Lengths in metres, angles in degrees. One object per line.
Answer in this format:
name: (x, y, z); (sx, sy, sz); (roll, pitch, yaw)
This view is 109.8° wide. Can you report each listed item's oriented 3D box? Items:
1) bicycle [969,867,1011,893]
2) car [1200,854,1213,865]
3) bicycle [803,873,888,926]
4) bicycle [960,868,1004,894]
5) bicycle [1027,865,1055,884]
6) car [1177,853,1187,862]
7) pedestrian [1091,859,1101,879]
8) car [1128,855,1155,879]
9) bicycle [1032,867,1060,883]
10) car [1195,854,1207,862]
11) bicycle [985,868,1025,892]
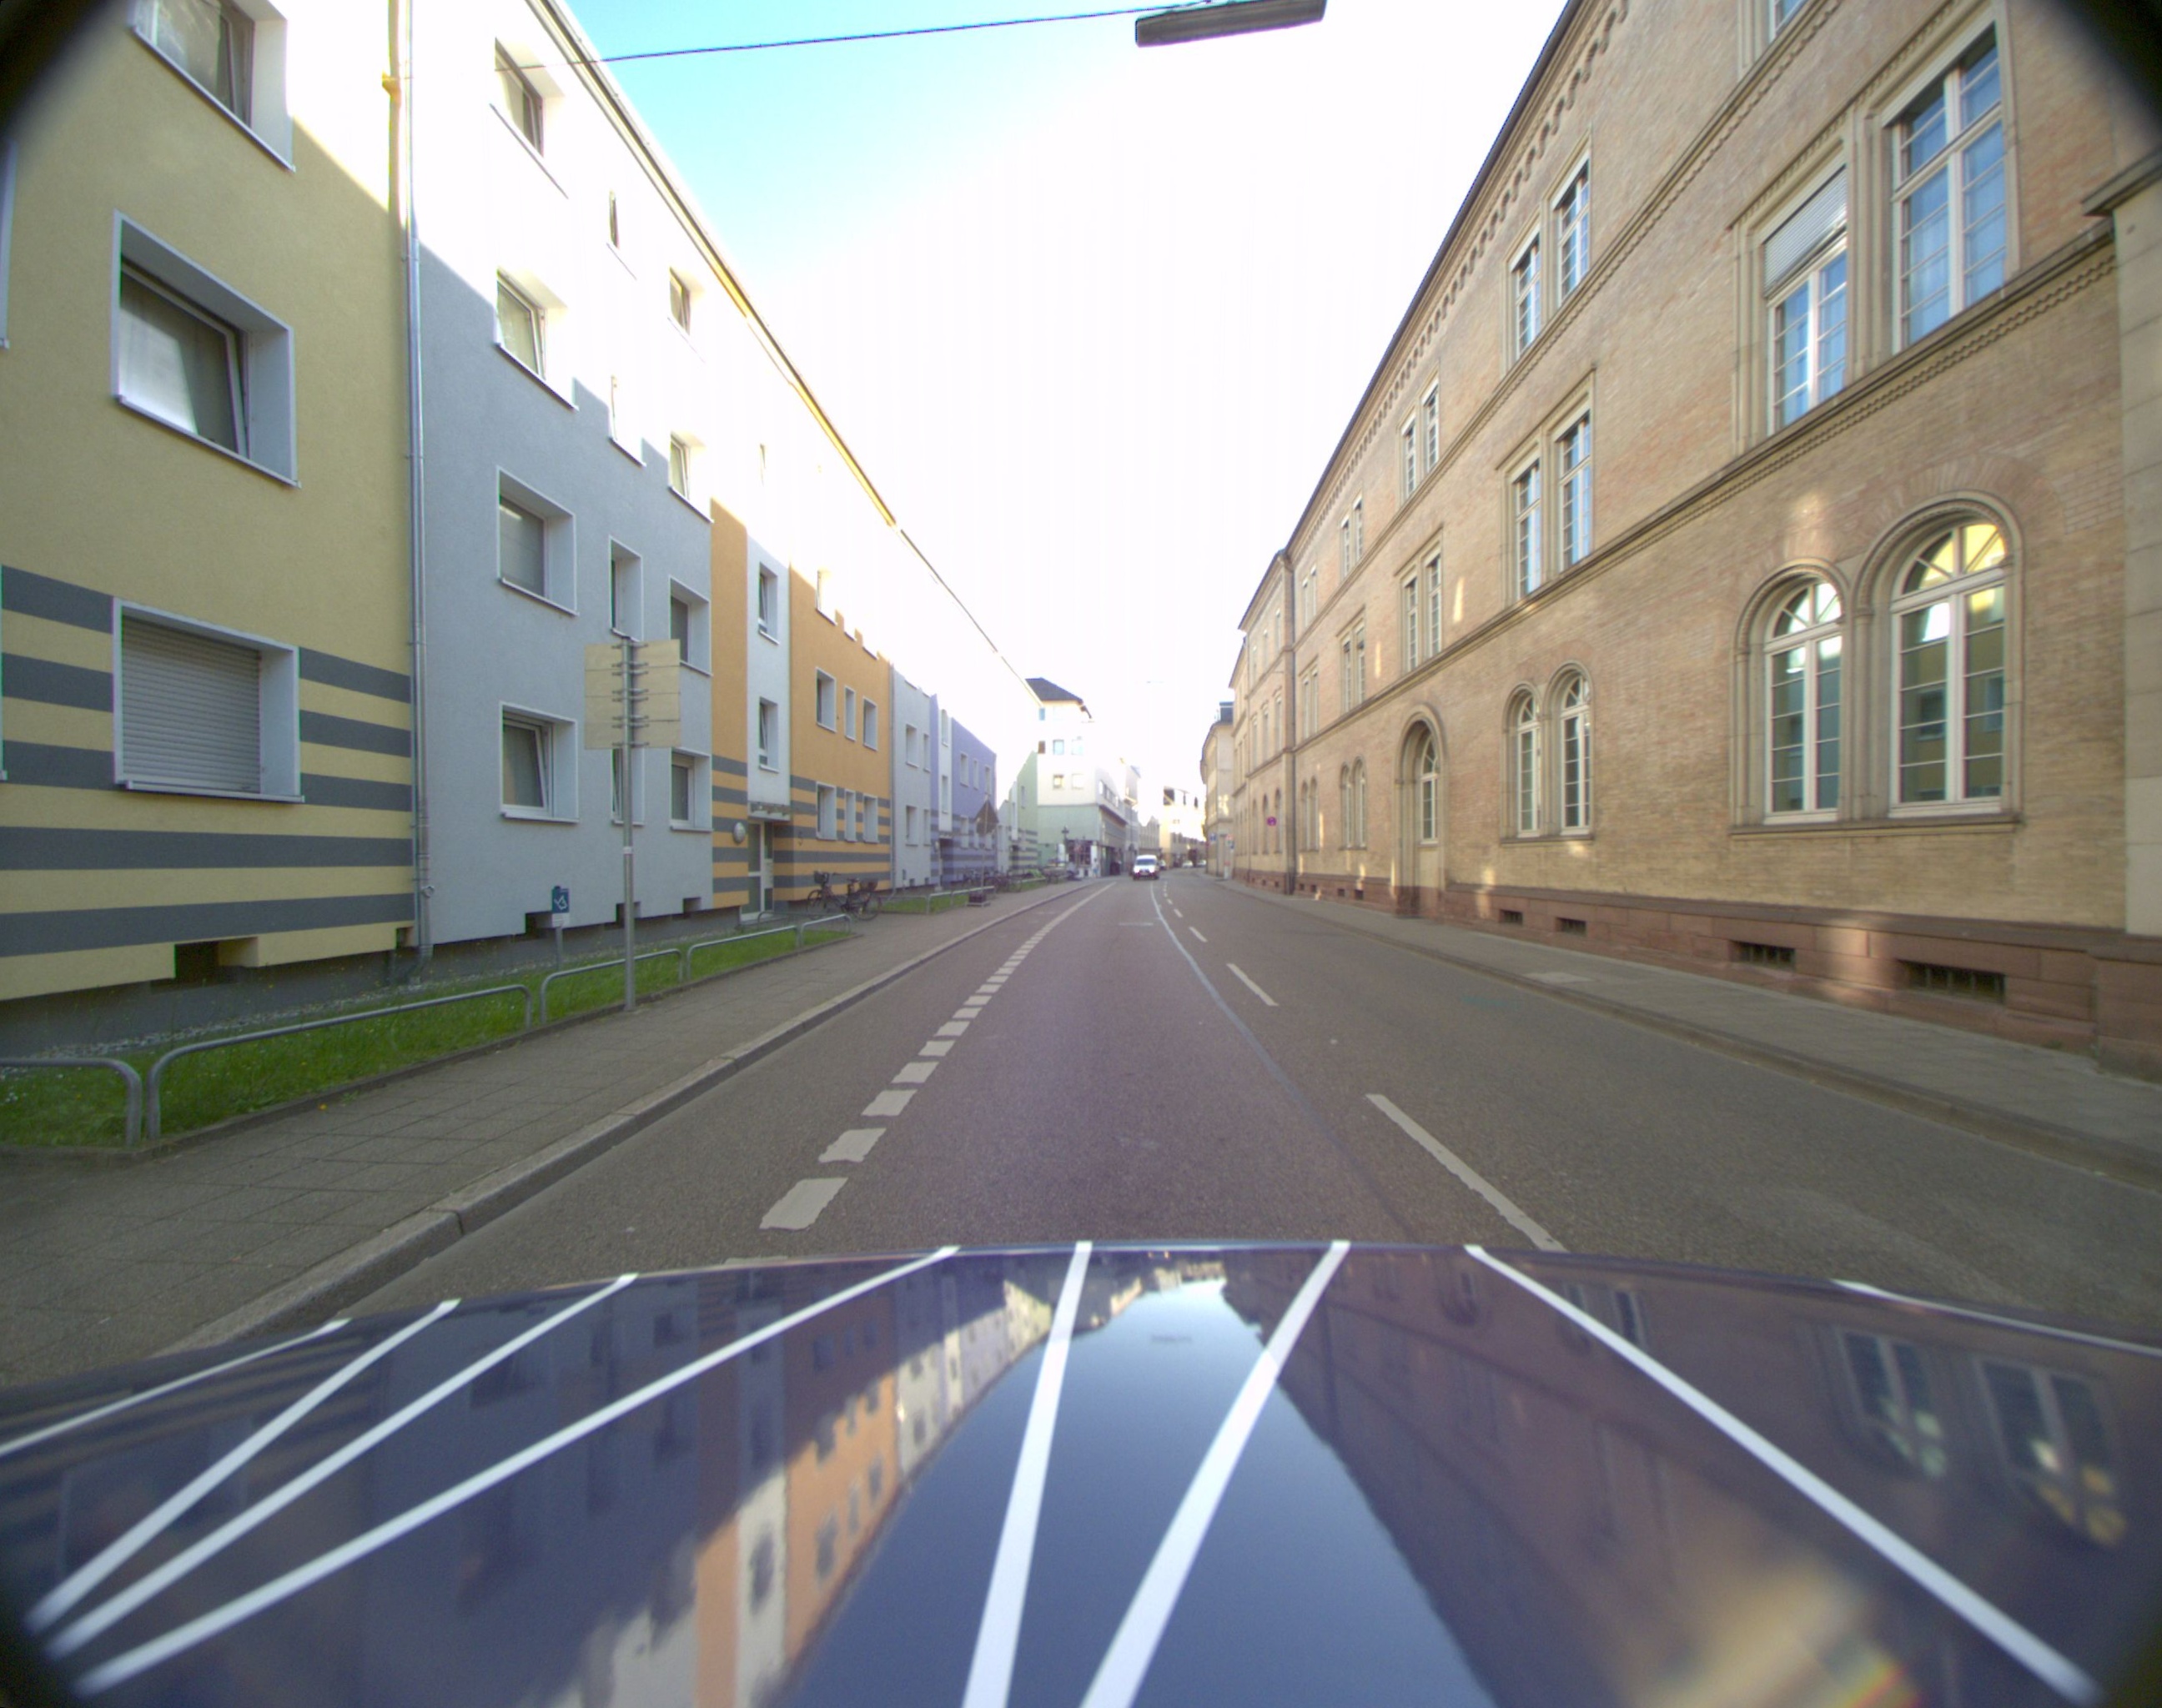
bicycle: (-3.950, 1.119, 33.006); (1.710, 1.075, 0.636); (1, 0, 1)
car: (19.888, 0.801, 120.113); (1.662, 1.714, 3.743); (0, 0, 14)
bicycle: (-5.290, 1.012, 17.111); (1.711, 1.152, 0.636); (1, 0, -2)
bicycle: (-4.151, 1.130, 31.864); (1.710, 1.039, 0.636); (1, 0, 2)
bicycle: (-2.420, 1.252, 46.126); (1.711, 1.097, 0.584); (1, 0, -2)
car: (19.944, 0.615, 149.659); (1.534, 1.714, 3.743); (0, 0, 16)
pedestrian: (1.142, 1.109, 57.861); (0.708, 1.510, 0.661); (-1, 0, 1)
car: (4.590, 0.945, 57.184); (1.922, 1.712, 4.962); (0, 0, 5)
bicycle: (-2.172, 1.323, 47.586); (1.711, 0.972, 0.516); (1, 0, -2)
car: (25.858, 0.803, 163.570); (1.925, 1.714, 4.236); (0, 0, 19)
bicycle: (-3.390, 1.156, 33.767); (1.711, 1.029, 0.636); (1, 0, -2)
